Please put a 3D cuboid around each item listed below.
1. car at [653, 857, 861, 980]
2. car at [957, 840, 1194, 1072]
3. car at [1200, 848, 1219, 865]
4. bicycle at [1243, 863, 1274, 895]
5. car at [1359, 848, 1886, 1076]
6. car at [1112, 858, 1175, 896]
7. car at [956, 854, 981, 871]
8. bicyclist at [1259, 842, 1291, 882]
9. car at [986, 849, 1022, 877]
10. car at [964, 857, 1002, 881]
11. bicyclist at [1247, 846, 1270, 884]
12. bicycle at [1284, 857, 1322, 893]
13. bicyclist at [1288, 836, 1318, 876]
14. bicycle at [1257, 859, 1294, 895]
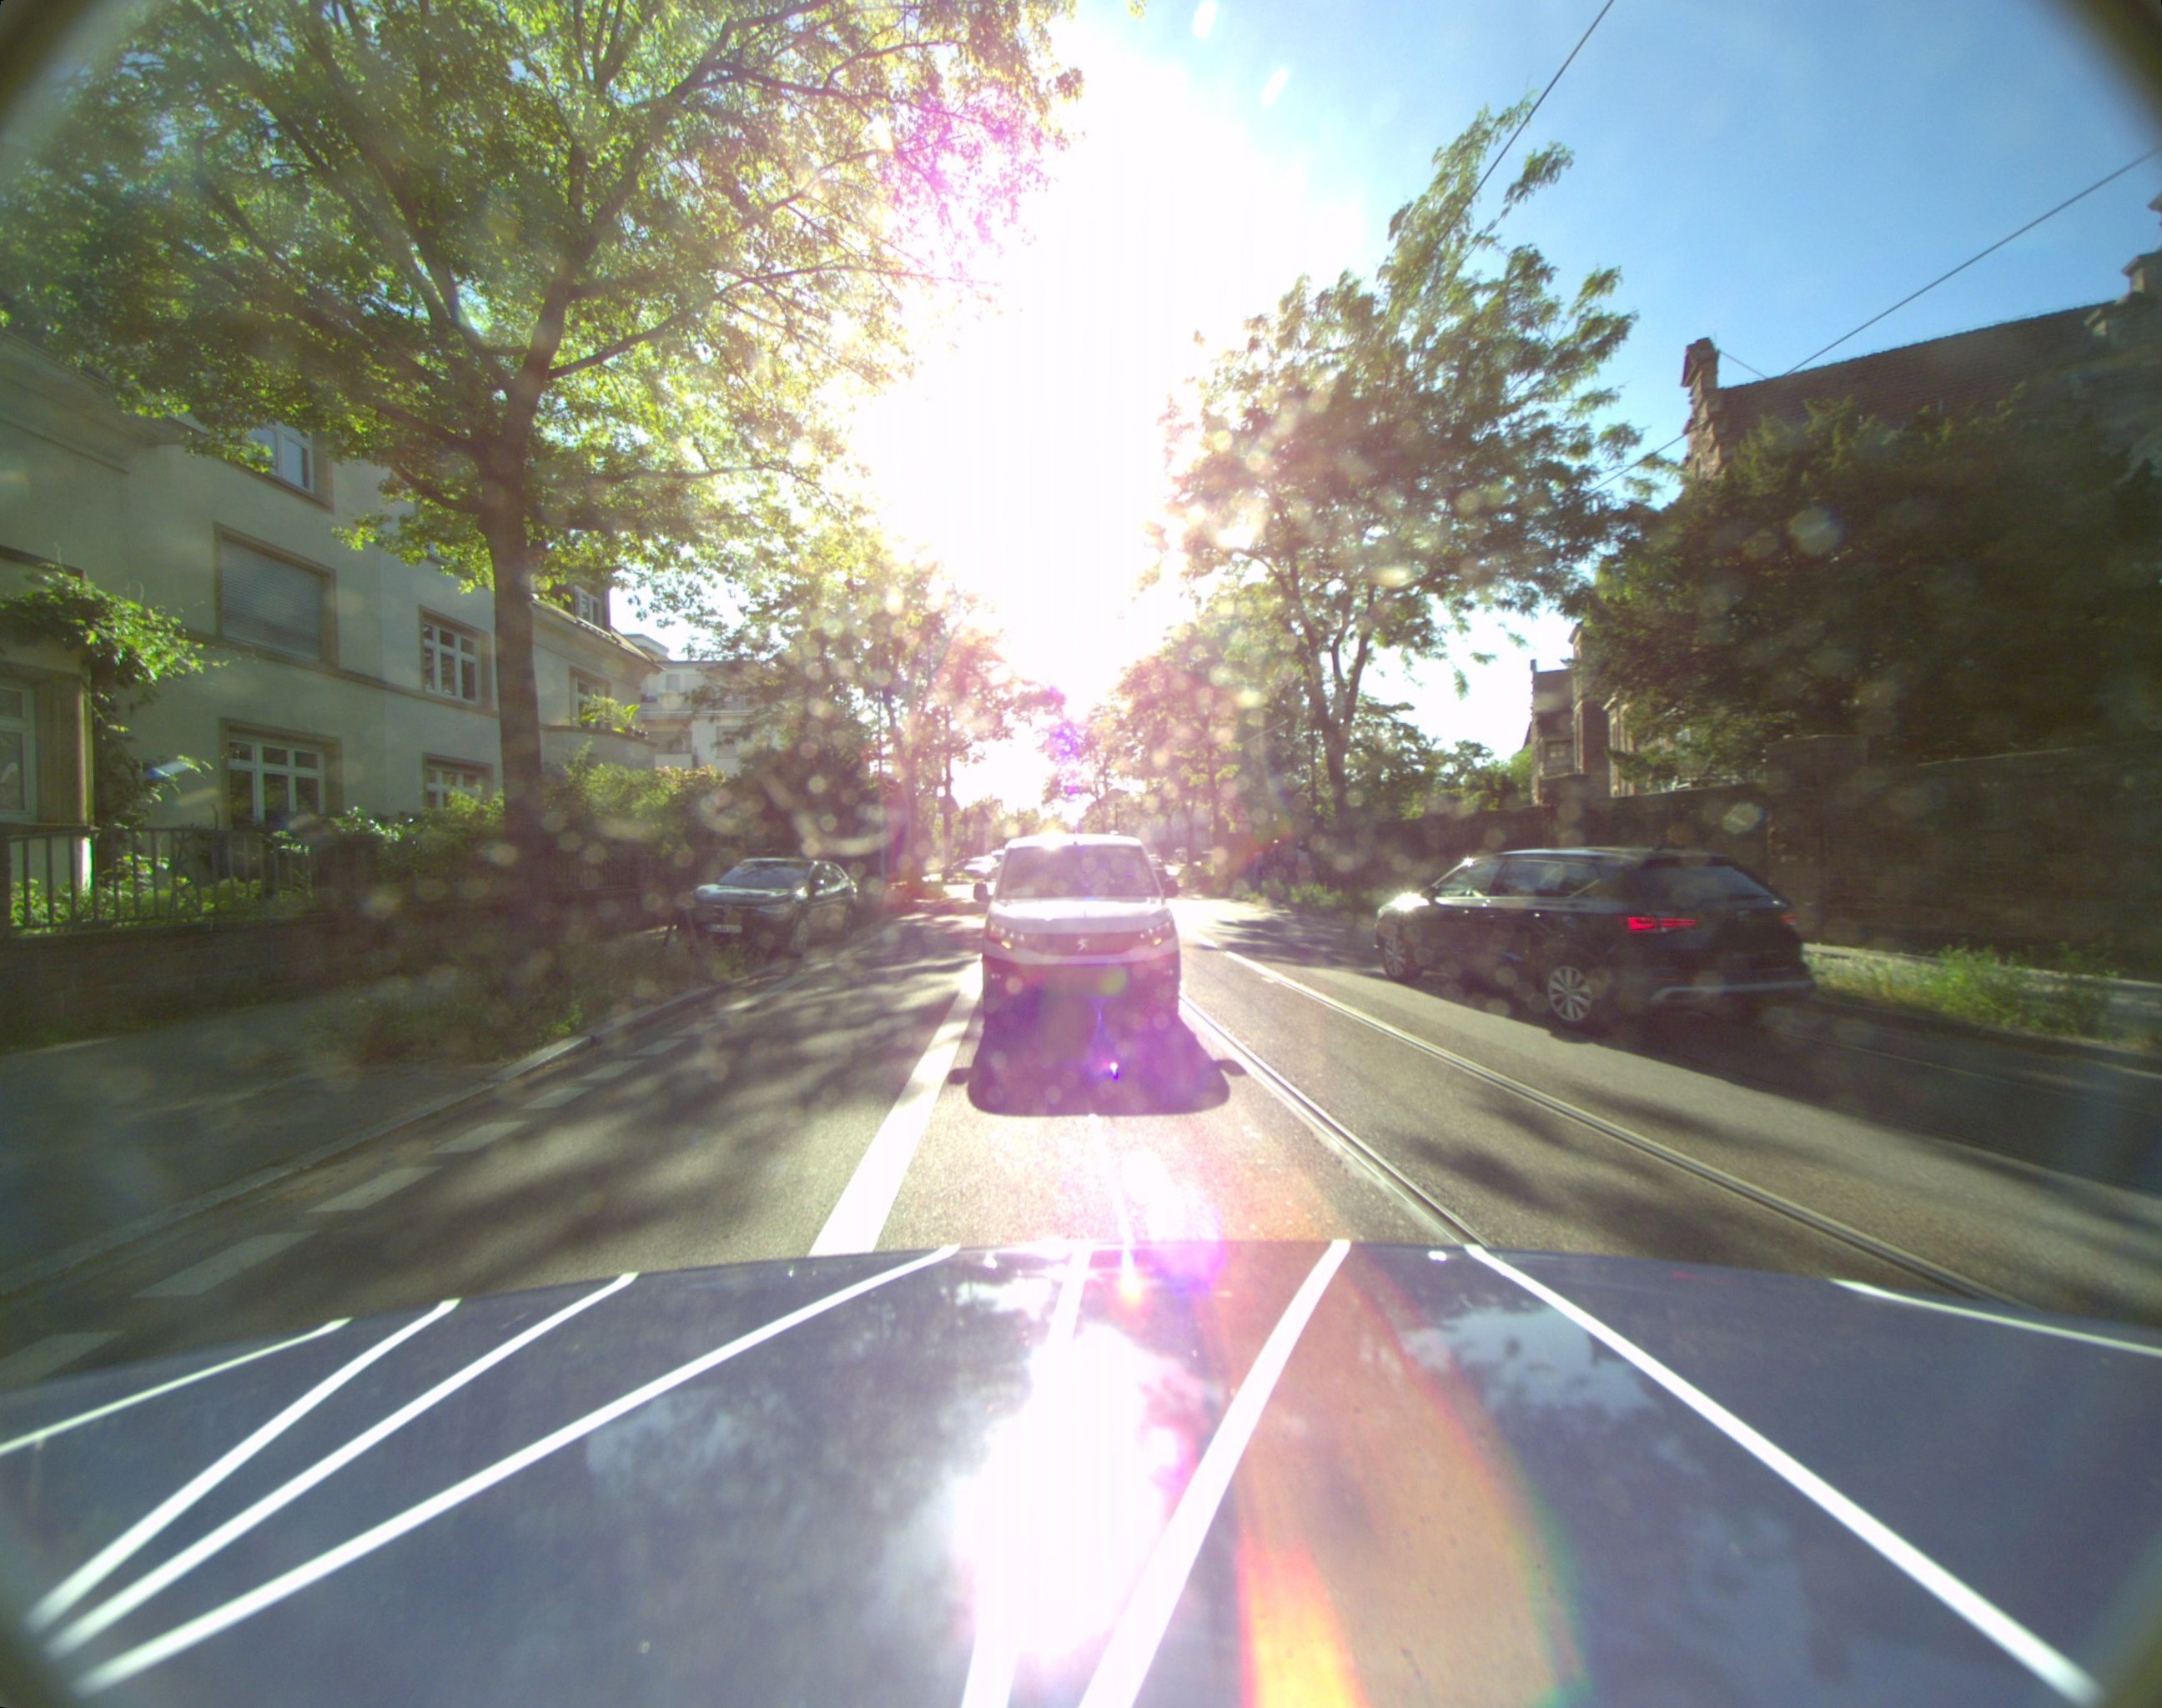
[{"bbox_3d":[-5.479,0.979,13.521,1.999,1.733,4.169,-2,1,-3],"label":"car"},{"bbox_3d":[-0.115,0.775,8.110,1.832,1.788,4.333,-1,1,-2],"label":"car"},{"bbox_3d":[14.787,0.294,87.519,1.830,1.800,4.004,-1,1,14],"label":"car"},{"bbox_3d":[7.386,1.020,31.676,0.747,1.184,2.088,-2,1,0],"label":"bicycle"},{"bbox_3d":[4.864,0.831,7.714,1.928,1.607,4.114,-1,-1,-11],"label":"car"},{"bbox_3d":[2.530,0.892,31.827,1.741,1.414,4.257,-1,0,-7],"label":"car"},{"bbox_3d":[-10.758,0.810,72.663,1.741,1.434,3.999,-2,1,0],"label":"car"},{"bbox_3d":[6.966,0.291,27.348,0.768,1.383,1.272,-2,1,0],"label":"bicyclist"},{"bbox_3d":[-5.366,0.568,53.725,1.904,1.819,4.248,-2,1,2],"label":"car"},{"bbox_3d":[-6.030,0.913,47.344,1.719,1.332,3.917,-2,1,1],"label":"car"},{"bbox_3d":[7.368,0.460,31.599,0.744,1.526,0.751,-2,1,0],"label":"bicyclist"},{"bbox_3d":[7.987,0.730,27.439,0.733,1.184,2.088,-2,1,0],"label":"bicycle"},{"bbox_3d":[7.970,0.070,27.322,0.734,1.383,1.060,-2,1,0],"label":"bicyclist"},{"bbox_3d":[6.987,0.794,27.396,0.774,1.184,2.102,-2,1,0],"label":"bicycle"}]
